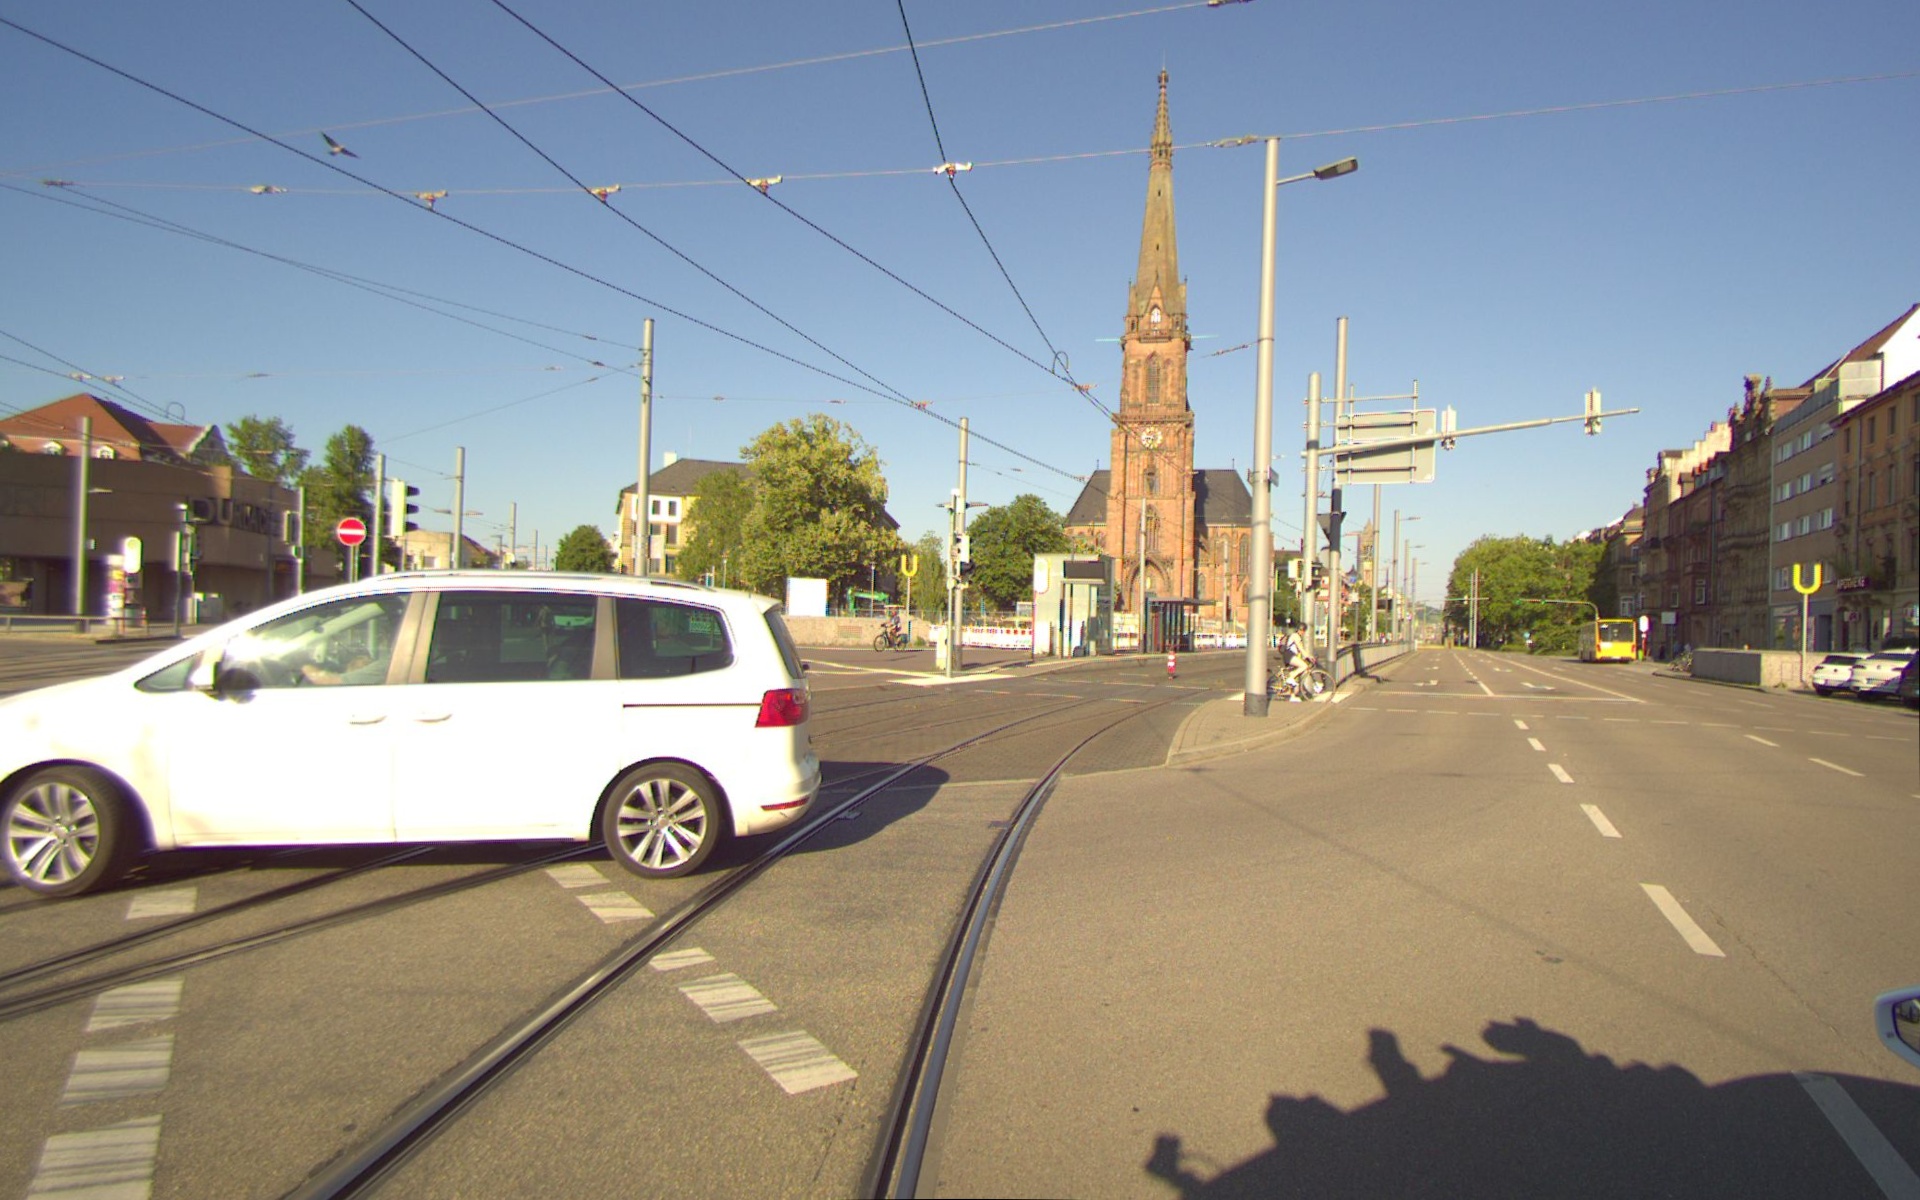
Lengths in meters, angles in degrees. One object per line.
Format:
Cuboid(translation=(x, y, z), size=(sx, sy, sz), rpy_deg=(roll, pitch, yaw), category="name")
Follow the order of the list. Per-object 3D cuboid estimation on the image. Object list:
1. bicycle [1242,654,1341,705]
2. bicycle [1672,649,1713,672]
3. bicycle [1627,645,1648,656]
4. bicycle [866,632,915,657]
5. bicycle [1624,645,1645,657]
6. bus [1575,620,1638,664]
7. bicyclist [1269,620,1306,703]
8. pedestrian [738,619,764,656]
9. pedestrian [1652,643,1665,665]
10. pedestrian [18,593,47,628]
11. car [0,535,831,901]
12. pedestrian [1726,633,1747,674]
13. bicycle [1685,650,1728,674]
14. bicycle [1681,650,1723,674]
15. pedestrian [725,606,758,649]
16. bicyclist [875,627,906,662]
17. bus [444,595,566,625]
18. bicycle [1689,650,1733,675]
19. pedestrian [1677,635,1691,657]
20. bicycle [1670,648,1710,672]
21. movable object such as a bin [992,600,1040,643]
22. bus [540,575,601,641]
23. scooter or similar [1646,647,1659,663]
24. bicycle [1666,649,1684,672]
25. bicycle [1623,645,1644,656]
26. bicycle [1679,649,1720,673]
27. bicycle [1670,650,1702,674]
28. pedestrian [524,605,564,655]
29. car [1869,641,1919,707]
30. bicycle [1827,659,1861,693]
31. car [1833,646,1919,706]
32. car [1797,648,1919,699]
Cuboid(translation=(6.720, 1.598, 20.360), size=(1.858, 0.954, 0.815), rpy_deg=(0, -2, 21), category="bicycle")
Cuboid(translation=(41.151, 3.400, 56.460), size=(1.764, 1.203, 0.469), rpy_deg=(2, 0, 26), category="bicycle")
Cuboid(translation=(75.941, 5.674, 112.609), size=(1.851, 1.255, 0.491), rpy_deg=(0, -3, 14), category="bicycle")
Cuboid(translation=(-2.977, 1.923, 43.163), size=(0.804, 0.954, 1.991), rpy_deg=(10, 5, 42), category="bicycle")
Cuboid(translation=(76.349, 5.766, 113.692), size=(1.851, 1.255, 0.491), rpy_deg=(0, -3, 14), category="bicycle")
Cuboid(translation=(50.987, 3.307, 79.527), size=(2.673, 3.223, 12.530), rpy_deg=(0, -2, 26), category="bus")
Cuboid(translation=(6.658, 1.231, 20.402), size=(0.663, 1.637, 0.815), rpy_deg=(0, -2, 21), category="bicyclist")
Cuboid(translation=(-9.942, 1.779, 47.776), size=(1.046, 1.709, 0.721), rpy_deg=(-1, 1, -35), category="pedestrian")
Cuboid(translation=(65.768, 5.069, 94.534), size=(0.809, 1.955, 1.136), rpy_deg=(1, -1, 26), category="pedestrian")
Cuboid(translation=(-48.220, 0.520, 52.213), size=(0.793, 1.792, 0.967), rpy_deg=(-1, 1, -24), category="pedestrian")
Cuboid(translation=(-3.139, 0.638, 6.225), size=(4.390, 1.756, 1.936), rpy_deg=(2, -1, -15), category="car")
Cuboid(translation=(39.817, 2.719, 51.502), size=(0.739, 2.041, 0.697), rpy_deg=(0, 1, 26), category="pedestrian")
Cuboid(translation=(39.925, 3.315, 53.734), size=(1.737, 1.203, 0.469), rpy_deg=(2, 0, 26), category="bicycle")
Cuboid(translation=(40.382, 3.355, 54.686), size=(1.737, 1.203, 0.469), rpy_deg=(2, 0, 26), category="bicycle")
Cuboid(translation=(-9.296, 1.153, 42.776), size=(0.789, 1.792, 1.178), rpy_deg=(0, 1, 26), category="pedestrian")
Cuboid(translation=(-2.972, 1.923, 43.163), size=(0.804, 1.362, 0.897), rpy_deg=(10, 5, 43), category="bicyclist")
Cuboid(translation=(-51.895, 1.119, 114.730), size=(12.411, 3.237, 3.251), rpy_deg=(0, 1, 0), category="bus")
Cuboid(translation=(39.523, 3.307, 52.874), size=(1.737, 1.194, 0.469), rpy_deg=(2, 0, 26), category="bicycle")
Cuboid(translation=(67.396, 4.289, 93.505), size=(0.809, 1.955, 1.136), rpy_deg=(1, -1, 26), category="pedestrian")
Cuboid(translation=(41.372, 3.399, 56.931), size=(1.737, 1.203, 0.469), rpy_deg=(2, 0, 26), category="bicycle")
Cuboid(translation=(3.632, 1.312, 64.155), size=(2.581, 2.560, 5.172), rpy_deg=(0, 1, 8), category="movable object such as a bin")
Cuboid(translation=(-21.425, 0.318, 55.700), size=(2.798, 3.237, 12.602), rpy_deg=(-1, 1, -20), category="bus")
Cuboid(translation=(55.388, 4.394, 80.336), size=(0.424, 1.265, 1.296), rpy_deg=(0, -3, 16), category="scooter or similar")
Cuboid(translation=(39.558, 3.330, 55.595), size=(0.461, 1.162, 1.769), rpy_deg=(2, 0, 26), category="bicycle")
Cuboid(translation=(76.574, 5.757, 114.236), size=(1.851, 1.255, 0.491), rpy_deg=(0, -3, 14), category="bicycle")
Cuboid(translation=(40.602, 3.366, 55.157), size=(1.737, 1.203, 0.469), rpy_deg=(2, 0, 26), category="bicycle")
Cuboid(translation=(38.404, 3.267, 53.140), size=(0.461, 1.162, 1.771), rpy_deg=(2, 0, 3), category="bicycle")
Cuboid(translation=(-14.369, 1.032, 34.733), size=(1.035, 1.709, 0.729), rpy_deg=(0, 1, 9), category="pedestrian")
Cuboid(translation=(26.458, 2.018, 26.388), size=(4.184, 1.619, 1.953), rpy_deg=(3, -1, -17), category="car")
Cuboid(translation=(31.278, 2.700, 35.547), size=(1.080, 1.125, 0.417), rpy_deg=(3, 0, -23), category="bicycle")
Cuboid(translation=(28.173, 2.260, 29.486), size=(4.185, 1.591, 1.952), rpy_deg=(3, -1, -18), category="car")
Cuboid(translation=(29.818, 2.401, 32.752), size=(4.045, 1.483, 1.956), rpy_deg=(2, -1, -16), category="car")
